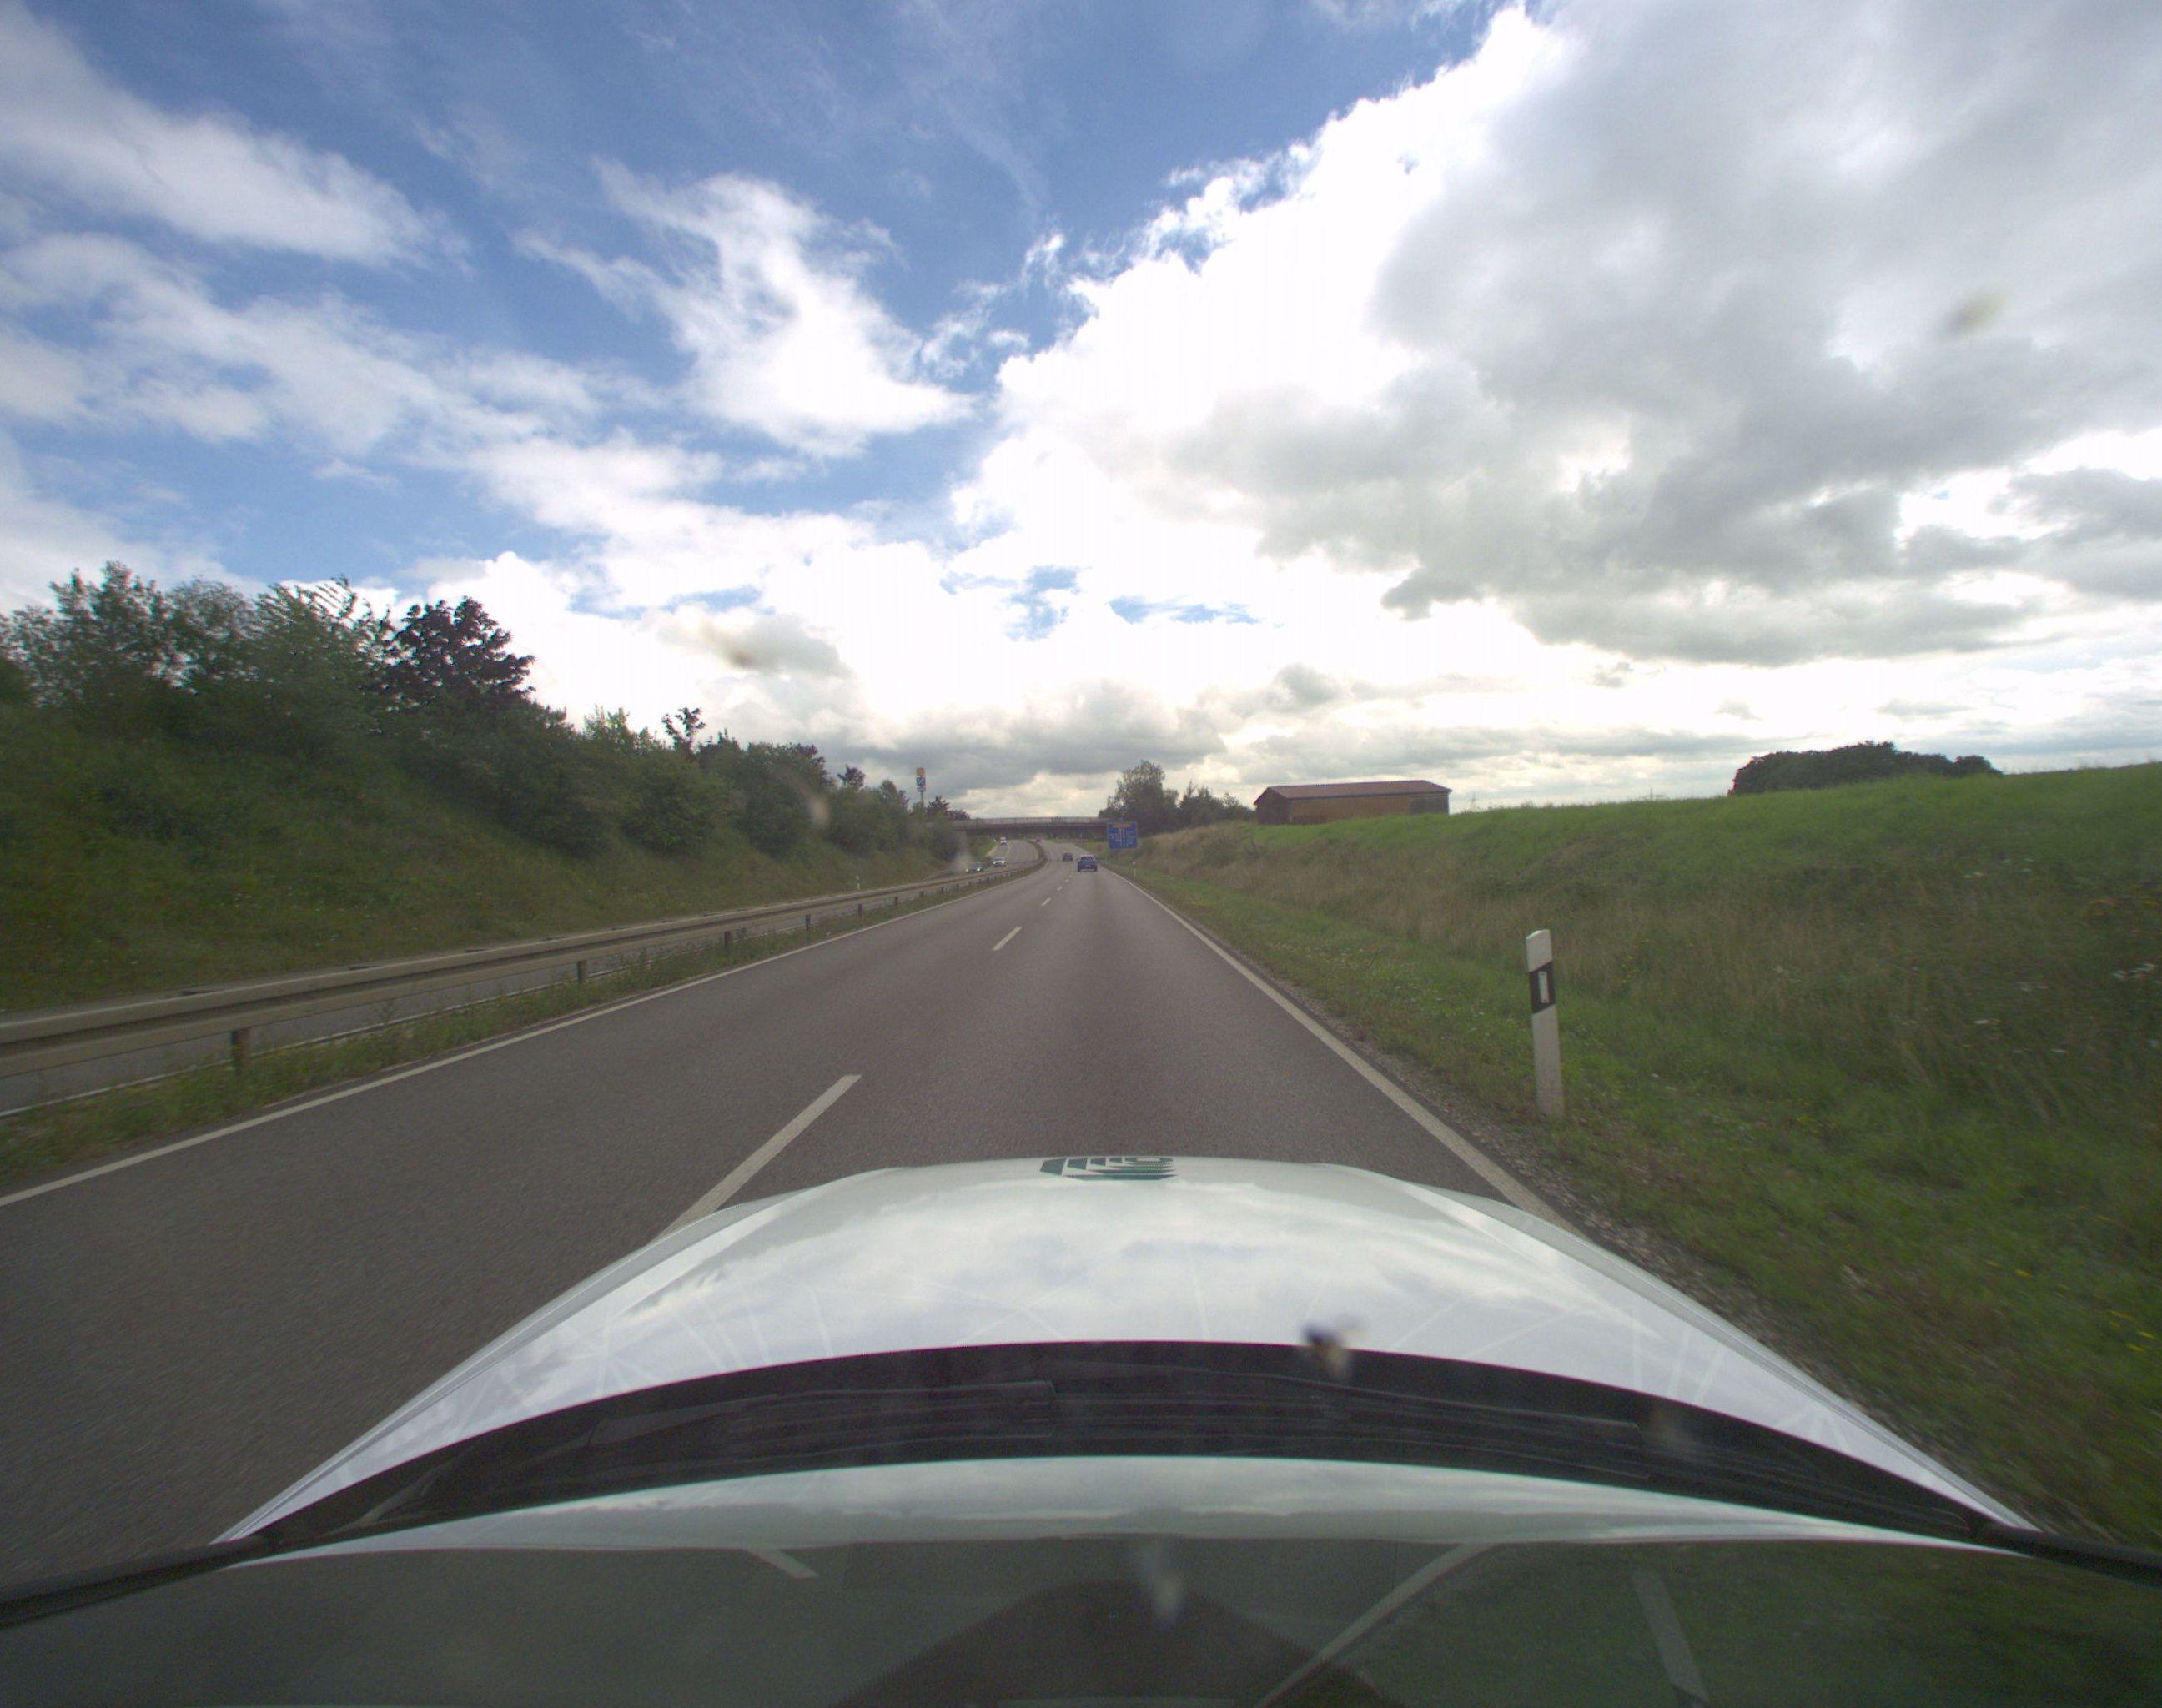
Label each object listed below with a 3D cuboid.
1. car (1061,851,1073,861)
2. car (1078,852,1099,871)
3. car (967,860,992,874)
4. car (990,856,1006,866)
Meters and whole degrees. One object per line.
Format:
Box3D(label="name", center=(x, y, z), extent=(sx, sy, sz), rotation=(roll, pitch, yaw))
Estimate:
Box3D(label="car", center=(-2.410, 0.352, 141.955), extent=(1.912, 1.453, 4.361), rotation=(-3, 1, -1))
Box3D(label="car", center=(0.739, 0.736, 81.024), extent=(2.027, 1.660, 4.543), rotation=(-1, 1, 0))
Box3D(label="car", center=(-10.884, 1.424, 87.630), extent=(1.987, 1.304, 4.822), rotation=(-3, 0, 1))
Box3D(label="car", center=(-13.084, 1.050, 128.436), extent=(1.987, 1.453, 4.000), rotation=(-3, 1, 0))
